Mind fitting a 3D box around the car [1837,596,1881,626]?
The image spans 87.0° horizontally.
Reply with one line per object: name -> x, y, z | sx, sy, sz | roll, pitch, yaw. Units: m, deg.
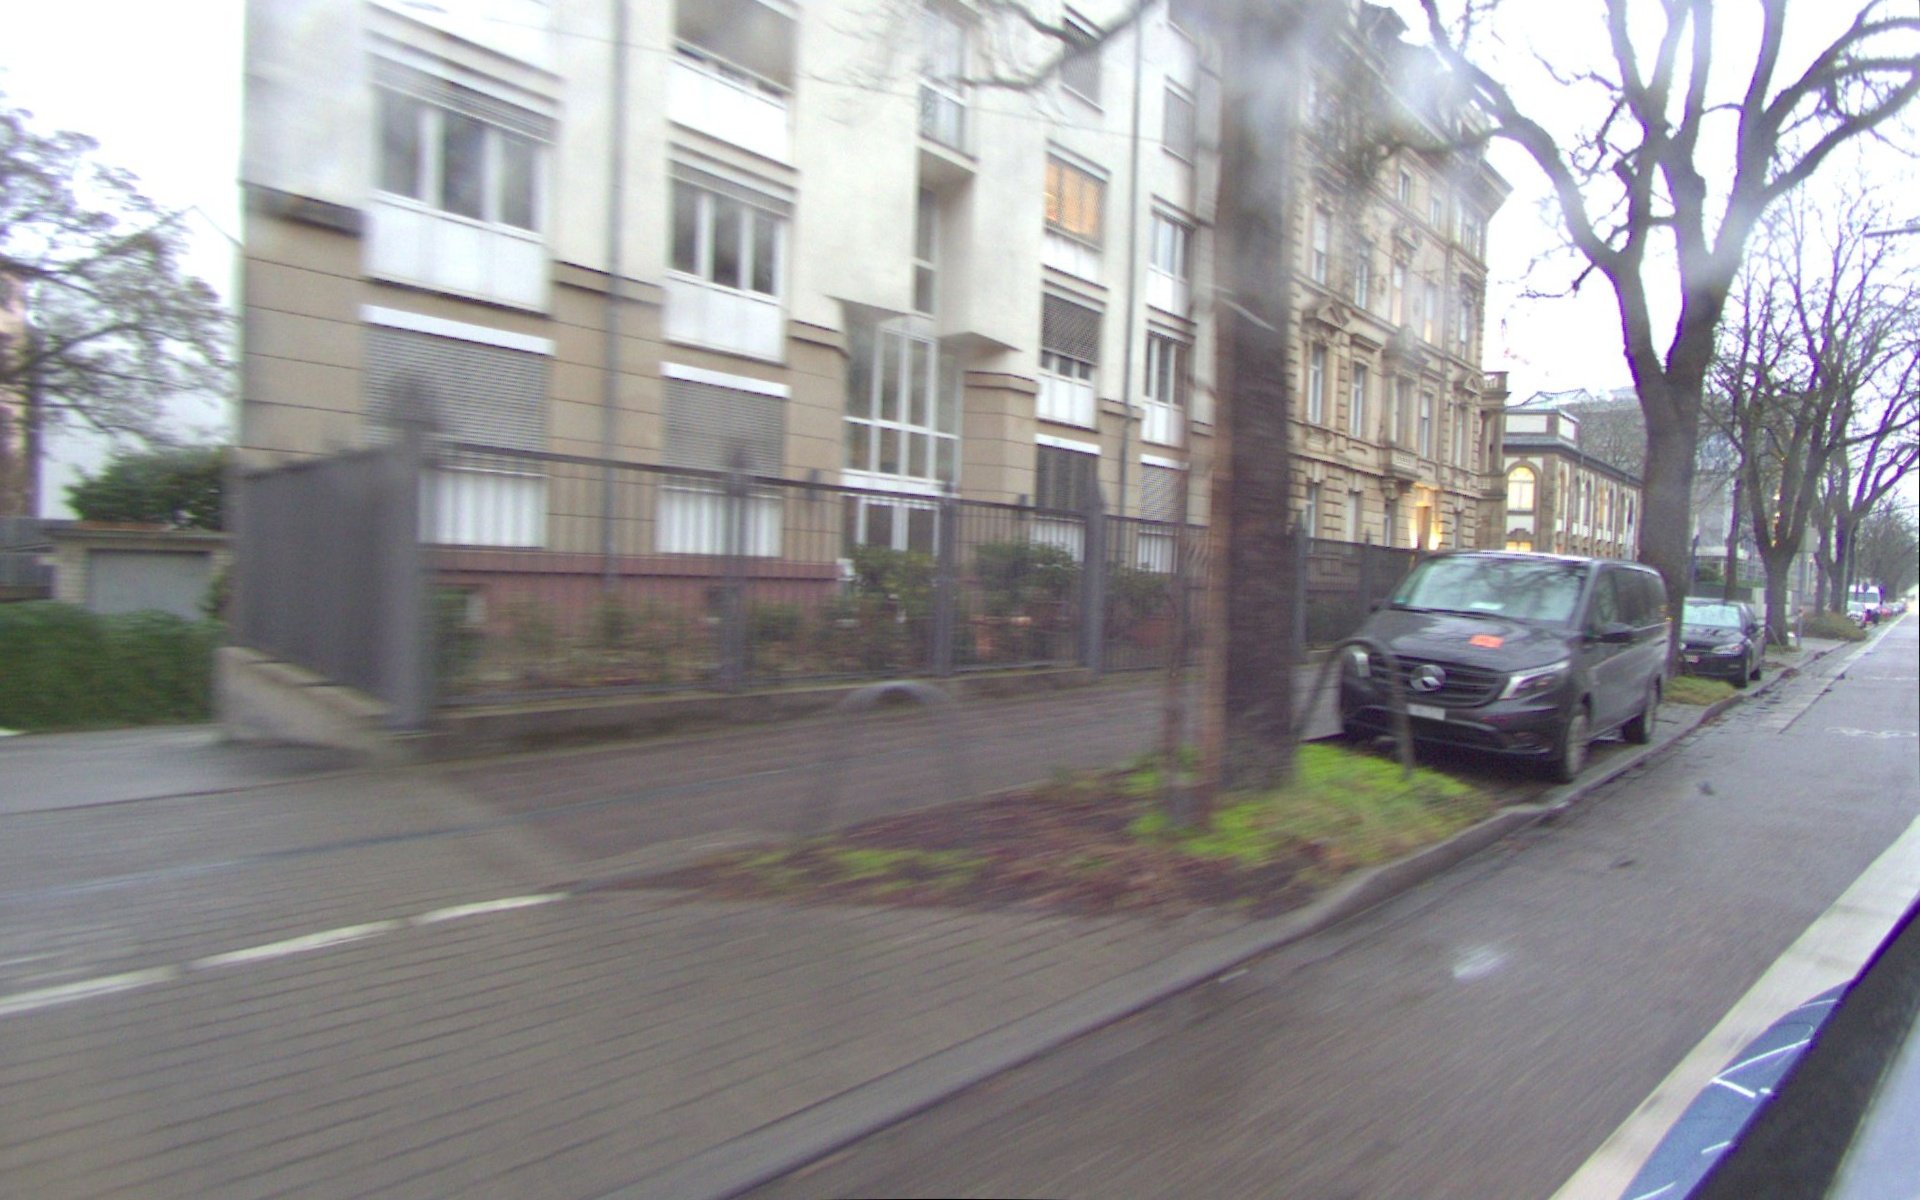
car -> 46.259, 0.529, 52.103 | 1.622, 1.425, 3.941 | 2, 2, 41

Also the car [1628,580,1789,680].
car -> 13.327, 0.468, 17.917 | 1.758, 1.463, 4.092 | 6, 4, 43

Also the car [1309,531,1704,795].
car -> 5.483, 0.408, 9.787 | 2.032, 1.898, 4.884 | 4, 3, 44

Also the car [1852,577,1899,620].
car -> 59.774, -0.137, 66.126 | 2.086, 2.669, 5.369 | 2, 2, 41

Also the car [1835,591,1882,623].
car -> 52.655, 0.391, 59.359 | 1.992, 1.702, 3.941 | 2, 2, 41
